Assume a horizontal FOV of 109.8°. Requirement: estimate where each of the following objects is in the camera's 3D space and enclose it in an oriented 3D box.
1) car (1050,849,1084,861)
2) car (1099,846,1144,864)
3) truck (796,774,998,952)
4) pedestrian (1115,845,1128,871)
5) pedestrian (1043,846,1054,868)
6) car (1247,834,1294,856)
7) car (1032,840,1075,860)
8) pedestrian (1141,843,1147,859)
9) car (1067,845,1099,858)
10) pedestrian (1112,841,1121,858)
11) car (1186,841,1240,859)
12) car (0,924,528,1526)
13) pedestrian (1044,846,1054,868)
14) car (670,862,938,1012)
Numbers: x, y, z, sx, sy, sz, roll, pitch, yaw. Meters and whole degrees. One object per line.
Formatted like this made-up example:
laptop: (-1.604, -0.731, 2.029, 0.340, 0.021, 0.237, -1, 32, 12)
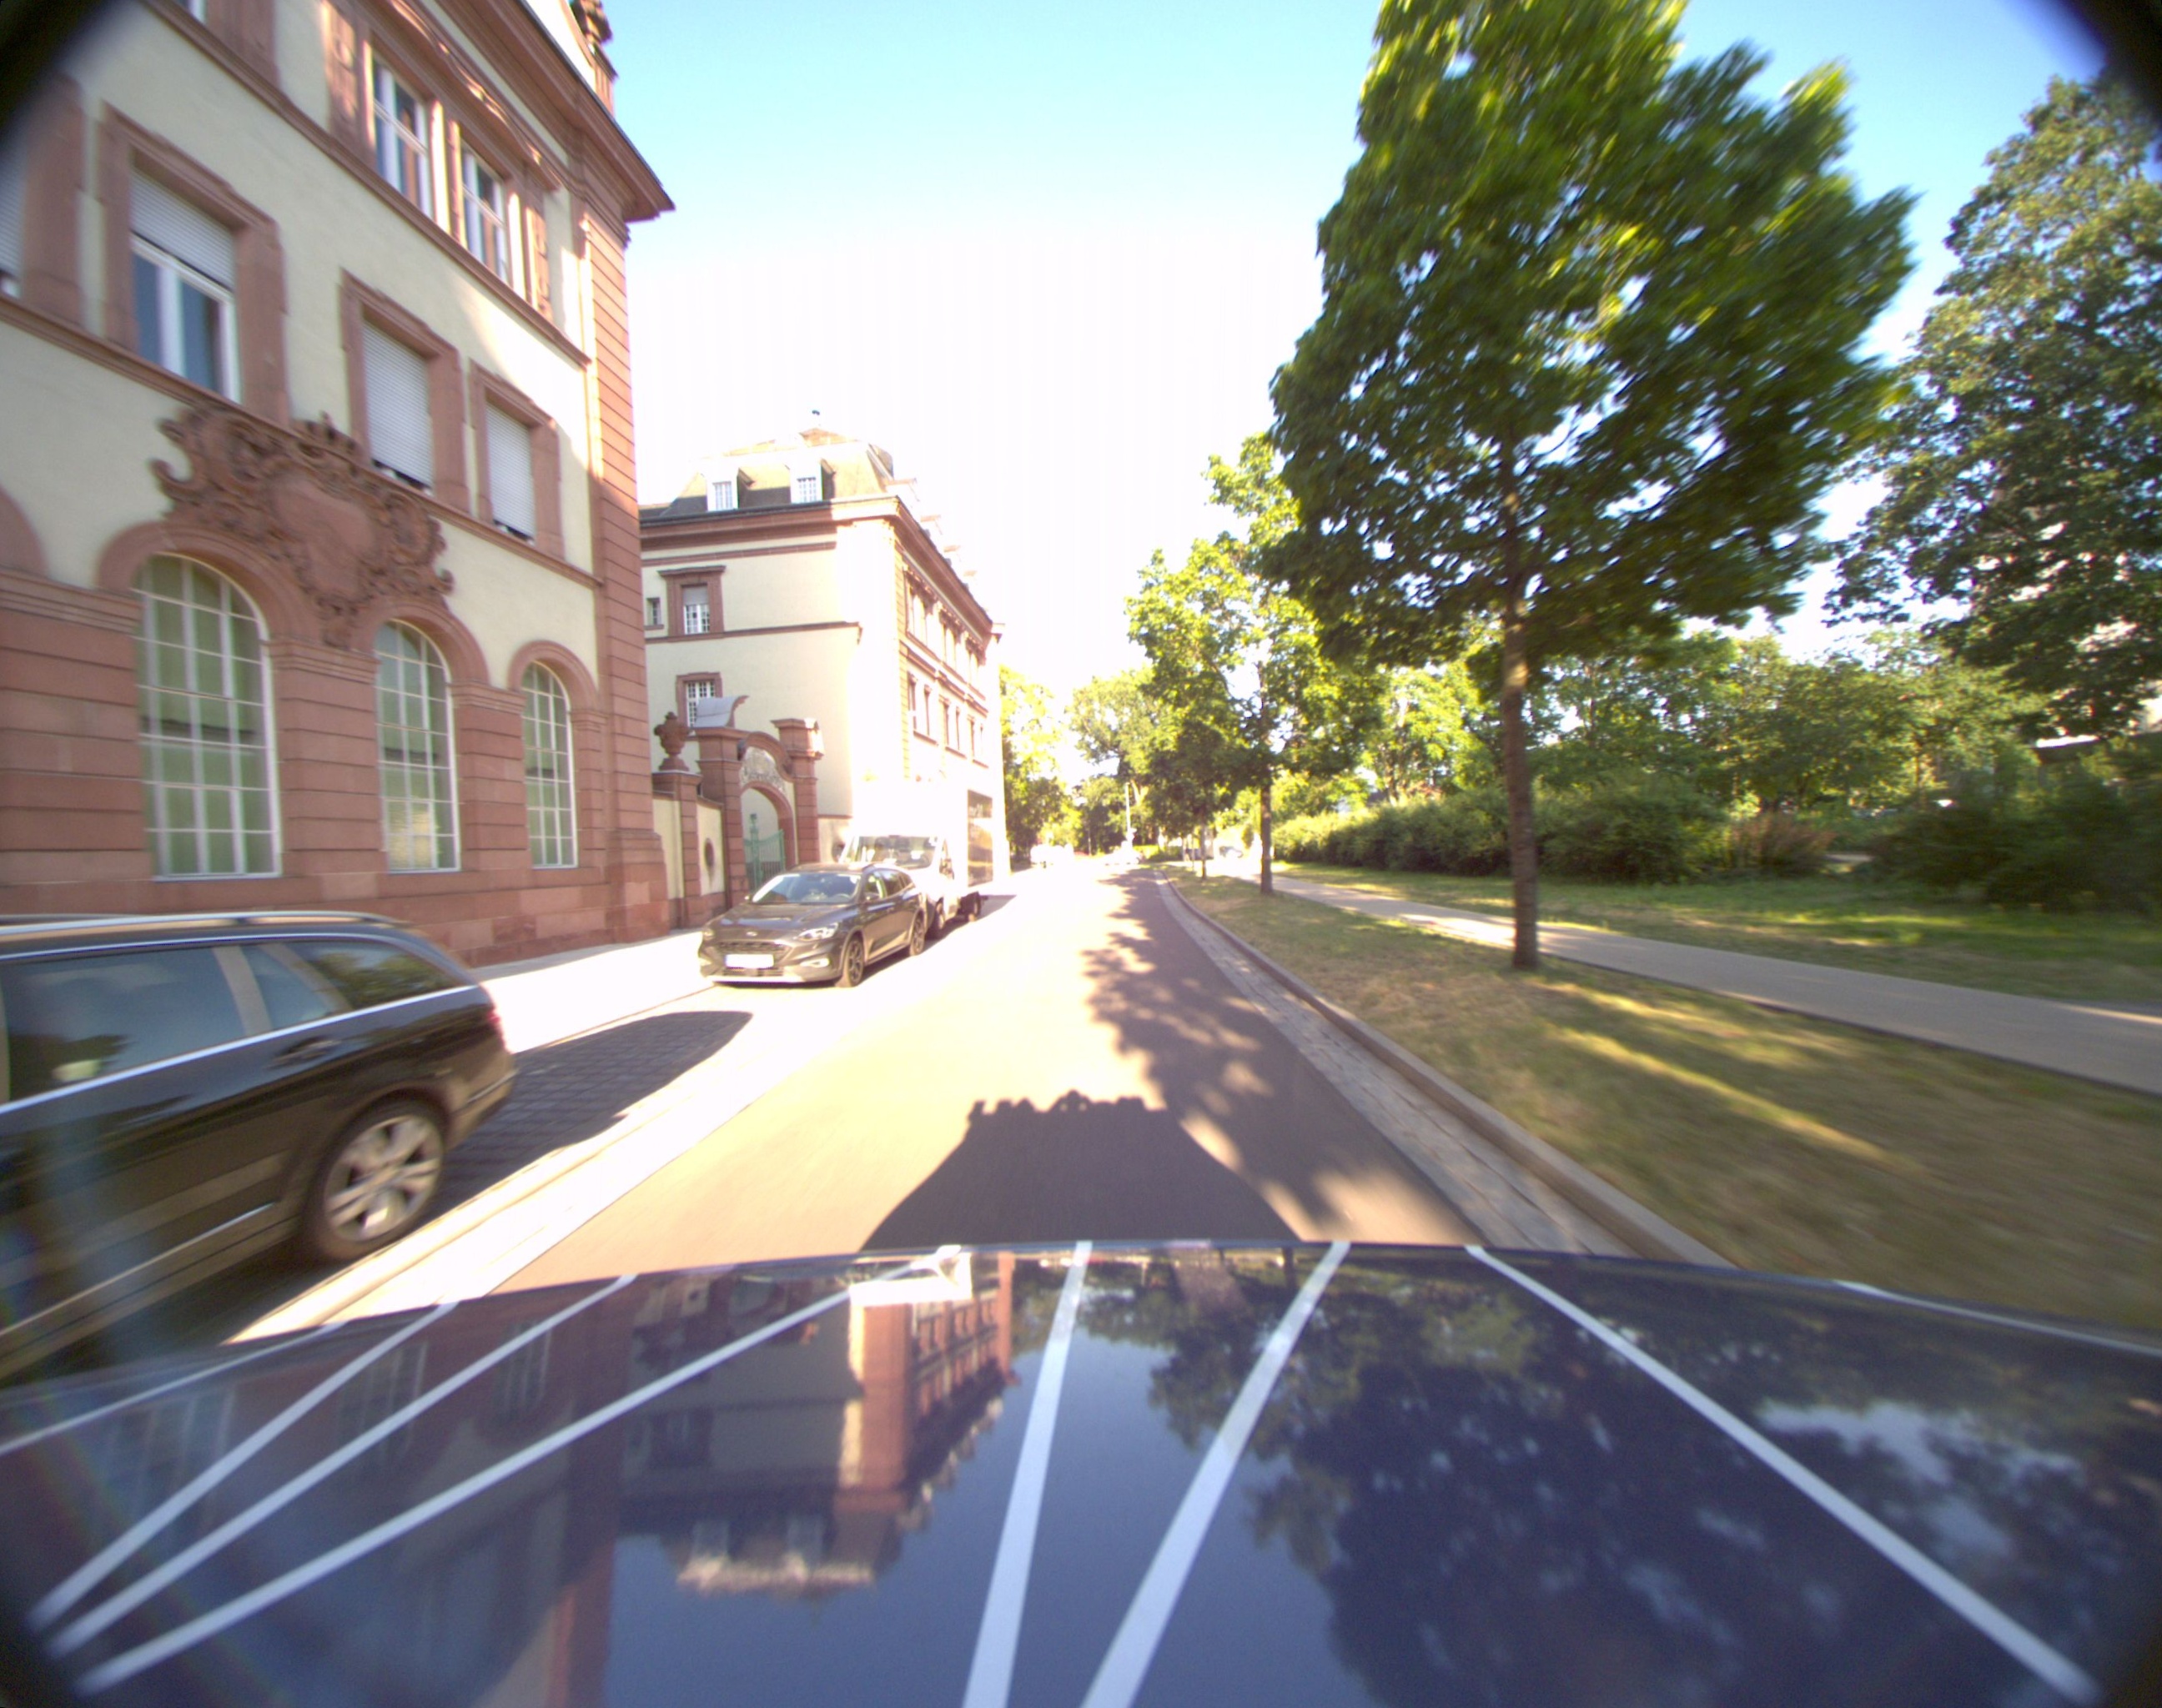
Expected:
car: (-1.881, 0.120, 100.409, 4.061, 1.412, 1.716, -3, 1, -15)
car: (4.182, 0.114, 78.760, 4.347, 1.526, 1.781, -3, 0, -12)
truck: (-3.571, 0.124, 16.453, 2.630, 3.103, 6.087, -1, 1, 2)
pedestrian: (2.768, 0.299, 51.760, 0.534, 1.708, 1.002, -2, -2, -12)
pedestrian: (-2.849, 0.273, 66.151, 0.717, 1.829, 0.789, -3, -1, -11)
car: (19.248, -0.900, 77.128, 4.239, 1.905, 1.760, -3, 1, -13)
car: (-4.027, -0.583, 112.251, 5.912, 2.685, 2.218, -3, 1, -15)
pedestrian: (6.773, -0.323, 81.959, 0.435, 1.765, 0.666, -4, 1, -8)
car: (0.237, -0.273, 95.213, 3.681, 1.412, 1.716, -3, 1, -15)
pedestrian: (4.245, -0.492, 90.001, 0.615, 1.905, 0.721, -1, -6, -35)
car: (13.108, -0.385, 75.454, 4.839, 1.549, 1.866, -3, 1, -13)
car: (-3.880, 1.132, 1.753, 1.876, 1.428, 4.521, -1, 1, 0)
pedestrian: (-2.827, 0.275, 66.989, 0.613, 1.829, 0.726, -3, -1, -11)
car: (-3.504, 0.955, 10.685, 1.772, 1.522, 4.573, -1, 1, 4)
